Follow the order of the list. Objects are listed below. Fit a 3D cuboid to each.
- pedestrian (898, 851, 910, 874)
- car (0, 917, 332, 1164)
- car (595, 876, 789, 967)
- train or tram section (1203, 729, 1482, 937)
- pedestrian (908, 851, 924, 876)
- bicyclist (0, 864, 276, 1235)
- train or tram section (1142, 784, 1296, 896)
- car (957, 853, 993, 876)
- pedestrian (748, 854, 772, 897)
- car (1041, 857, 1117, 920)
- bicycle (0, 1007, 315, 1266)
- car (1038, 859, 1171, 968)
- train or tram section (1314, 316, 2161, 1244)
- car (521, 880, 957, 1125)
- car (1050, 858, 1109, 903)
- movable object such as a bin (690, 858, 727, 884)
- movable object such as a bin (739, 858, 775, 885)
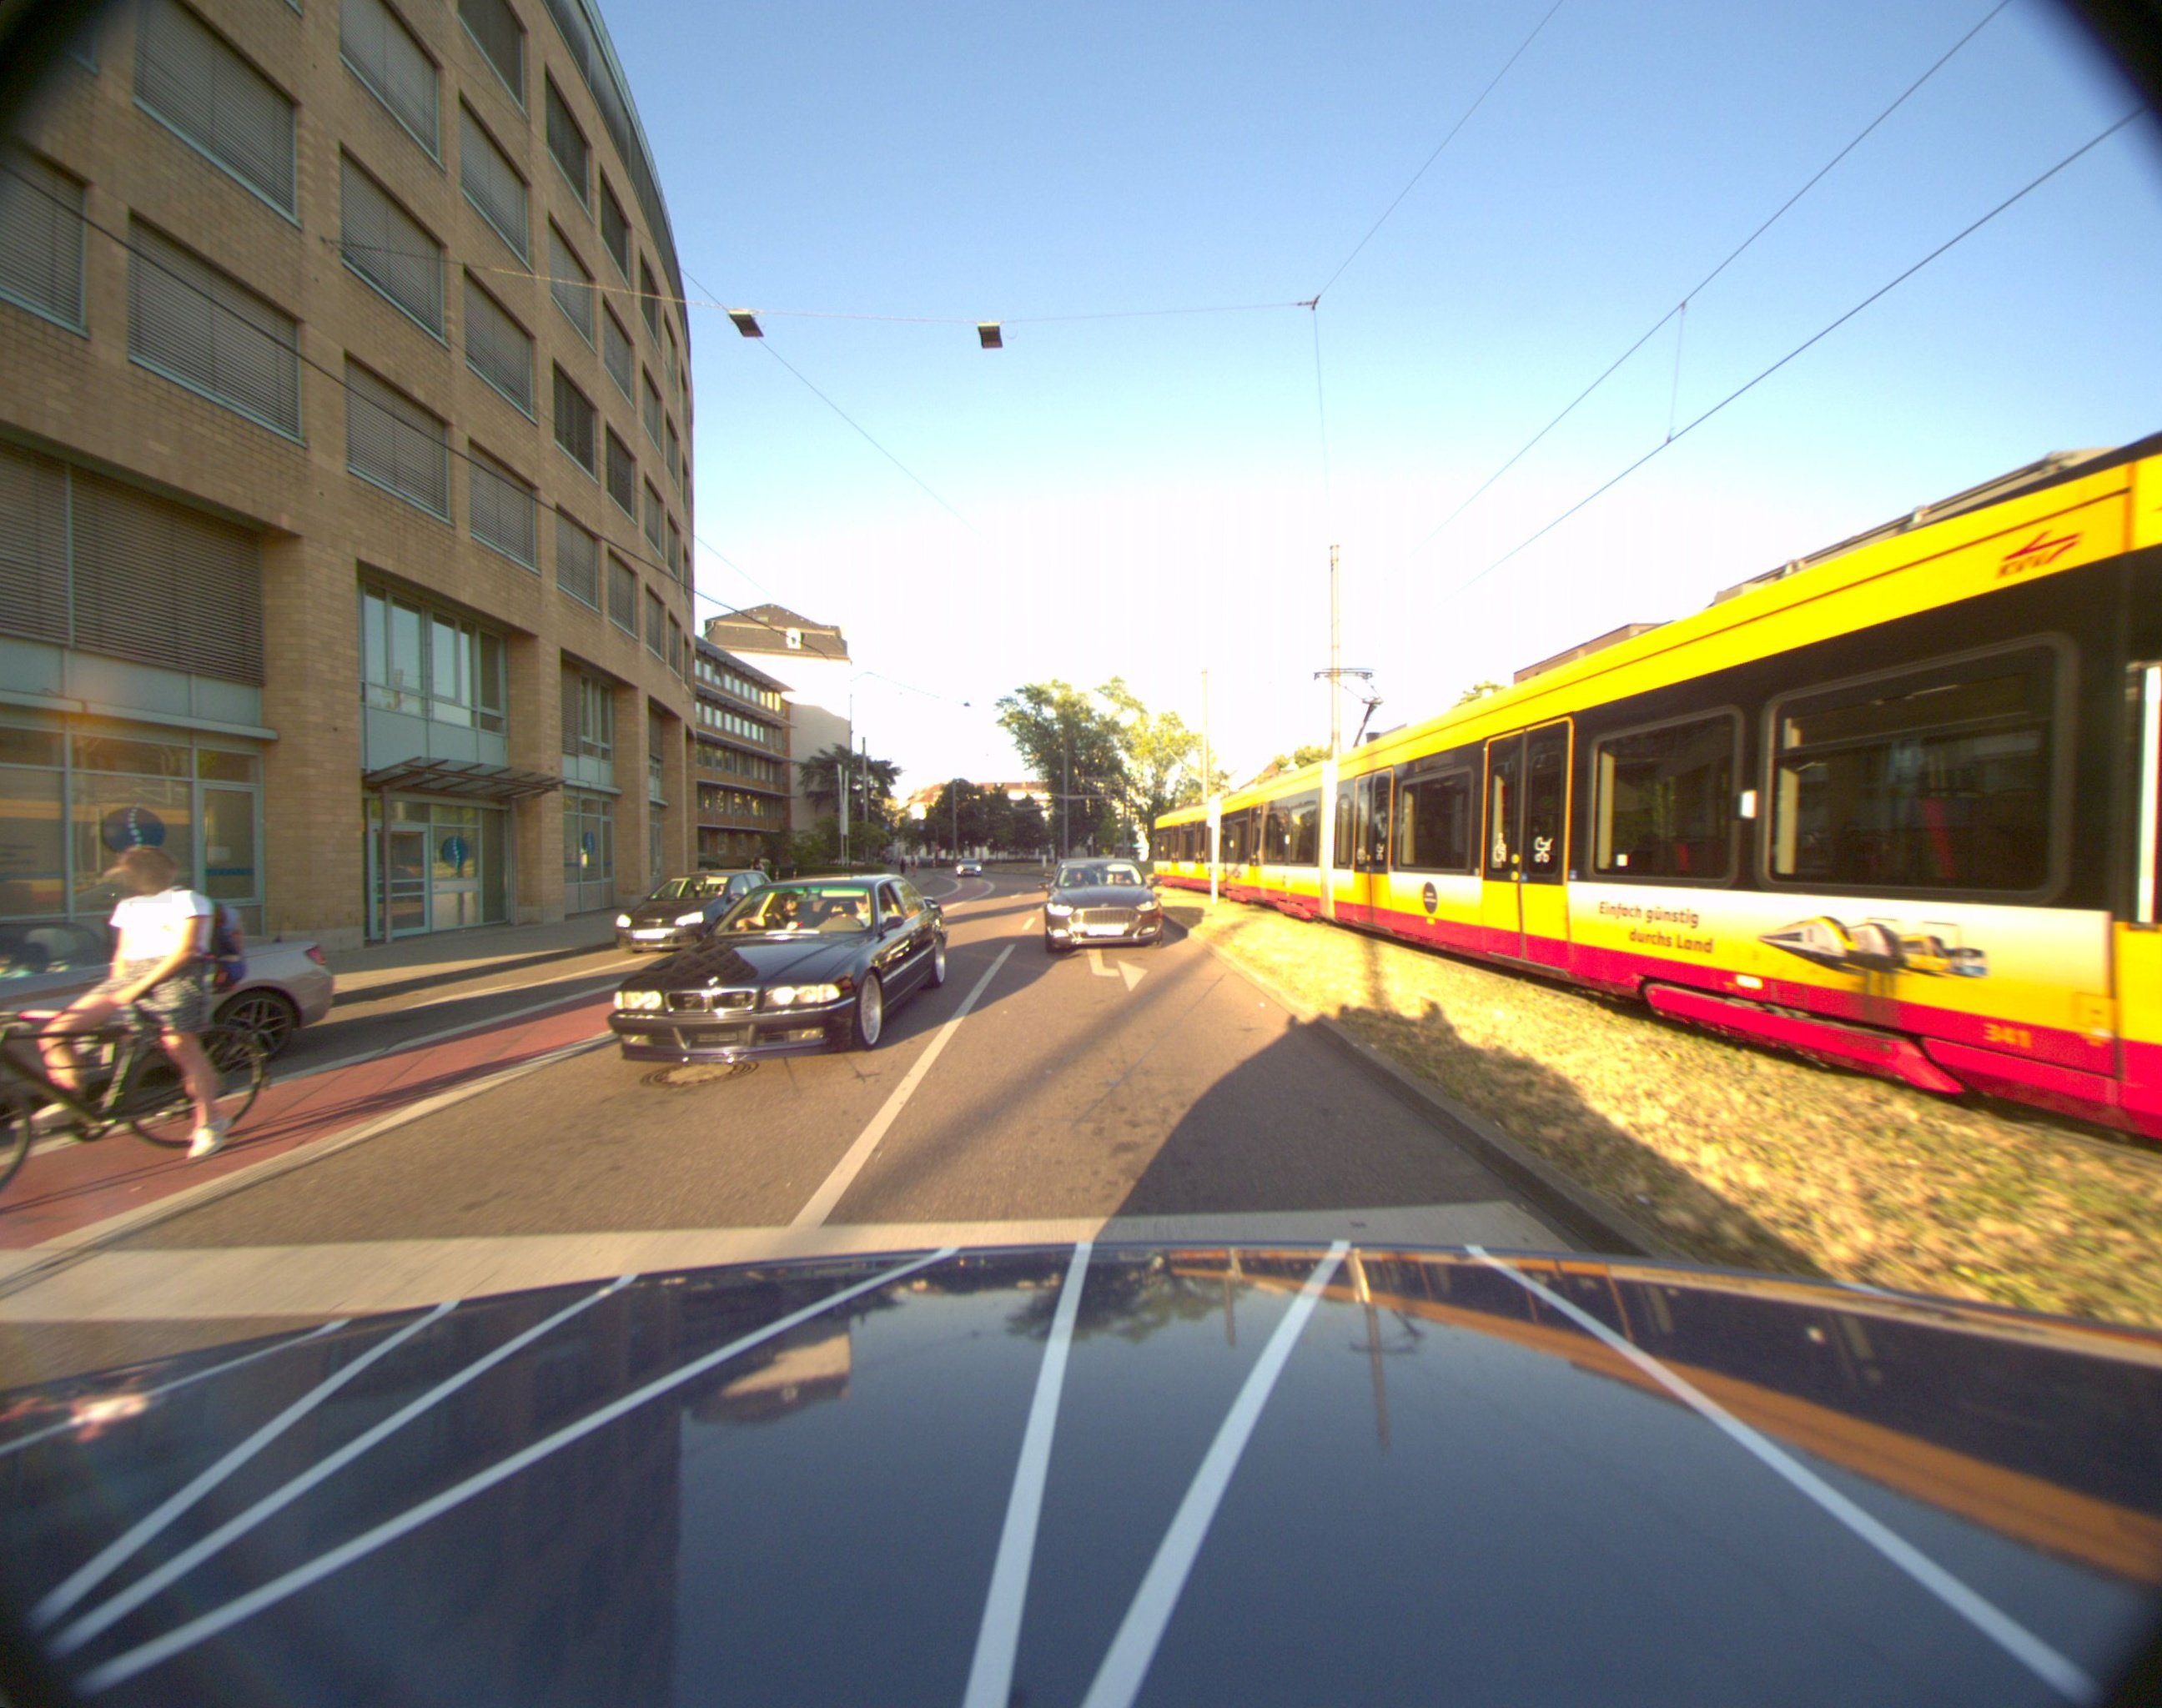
[{"bbox_3d":[-14.225,0.661,61.016,0.728,1.797,0.724,-1,1,1],"label":"pedestrian"},{"bbox_3d":[-7.743,1.309,4.786,1.748,1.377,4.227,-2,0,1],"label":"car"},{"bbox_3d":[-7.368,1.196,14.909,1.759,1.379,3.999,-1,0,-1],"label":"car"},{"bbox_3d":[5.723,-0.424,19.851,2.885,3.717,12.181,-1,0,-1],"label":"train or tram section"},{"bbox_3d":[-12.674,0.745,58.329,0.912,1.883,1.124,-2,1,-24],"label":"pedestrian"},{"bbox_3d":[-5.137,0.973,4.132,0.635,1.810,0.777,-1,1,-1],"label":"bicyclist"},{"bbox_3d":[5.123,-0.507,31.548,2.914,3.717,12.183,-1,0,-6],"label":"train or tram section"},{"bbox_3d":[-8.486,0.829,61.264,1.998,1.740,4.001,-1,0,6],"label":"car"},{"bbox_3d":[-12.793,0.846,30.274,0.628,1.672,0.713,-1,1,-3],"label":"pedestrian"},{"bbox_3d":[-0.020,0.884,21.578,1.897,1.526,4.705,-1,0,1],"label":"car"},{"bbox_3d":[-5.141,1.404,3.839,0.635,0.868,1.870,-1,0,-1],"label":"bicycle"},{"bbox_3d":[0.373,0.872,13.274,1.890,1.477,4.725,-1,0,1],"label":"car"},{"bbox_3d":[5.785,-0.339,7.399,2.916,3.717,13.216,-1,0,0],"label":"train or tram section"},{"bbox_3d":[-2.656,1.067,7.408,1.998,1.377,4.739,-2,0,1],"label":"car"},{"bbox_3d":[-0.099,0.919,28.240,1.999,1.453,4.142,-1,1,-2],"label":"car"},{"bbox_3d":[-21.108,0.943,43.124,1.427,1.450,1.332,-1,1,-2],"label":"movable object such as a bin"},{"bbox_3d":[-18.122,0.955,42.511,1.427,1.450,1.332,-1,1,-3],"label":"movable object such as a bin"}]
